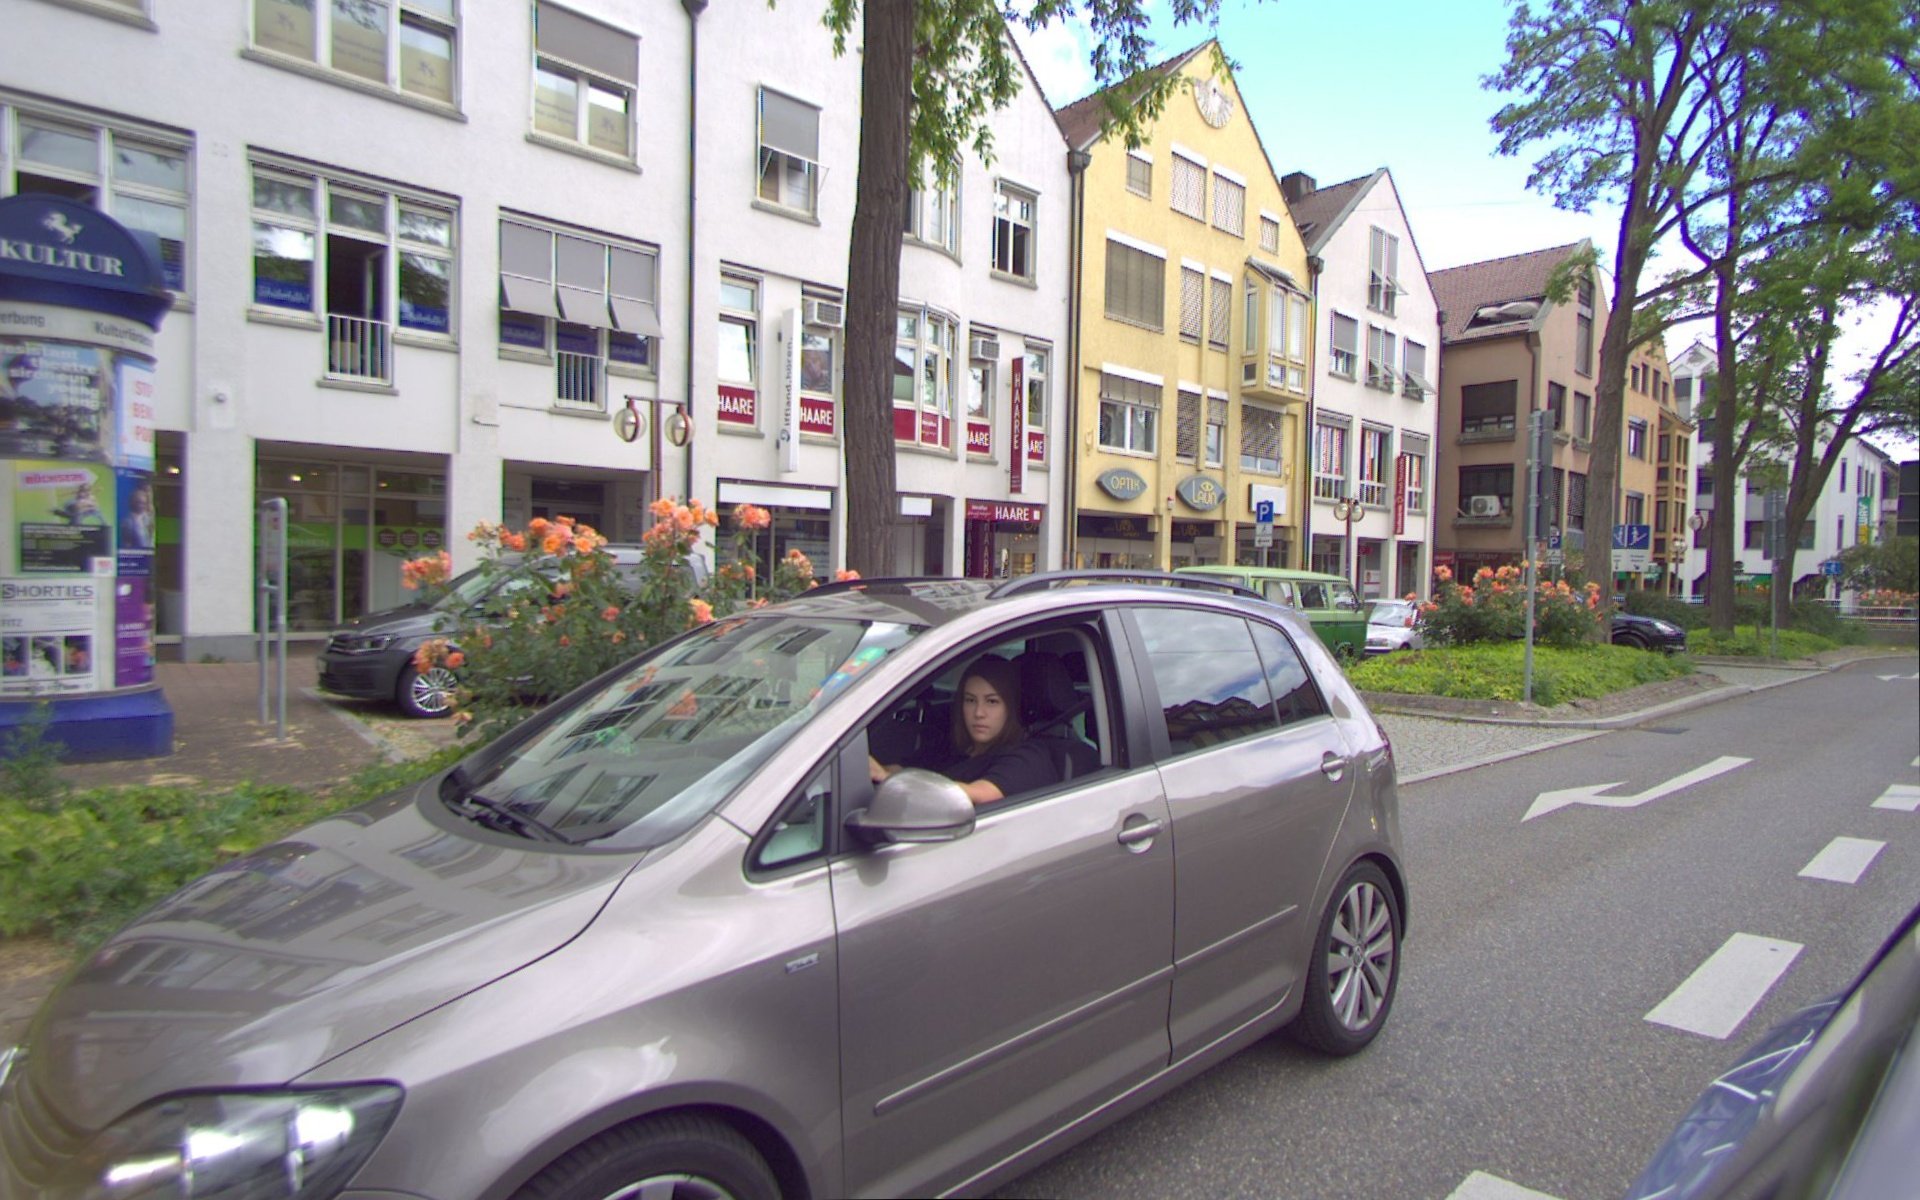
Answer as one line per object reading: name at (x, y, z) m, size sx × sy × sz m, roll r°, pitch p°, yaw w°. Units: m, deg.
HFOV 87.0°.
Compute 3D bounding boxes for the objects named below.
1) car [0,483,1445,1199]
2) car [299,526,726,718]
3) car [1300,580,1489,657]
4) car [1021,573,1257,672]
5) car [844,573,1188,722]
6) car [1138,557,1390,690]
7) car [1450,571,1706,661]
car at (-0.277, 0.637, 3.071) m, size 3.931 × 1.549 × 1.799 m, roll 0°, pitch 0°, yaw -42°
car at (-5.008, 0.154, 11.699) m, size 4.190 × 1.826 × 1.736 m, roll 0°, pitch 3°, yaw -43°
car at (9.010, 0.301, 20.789) m, size 4.674 × 1.325 × 1.841 m, roll -1°, pitch 4°, yaw -43°
car at (3.455, 0.319, 18.987) m, size 4.676 × 1.566 × 1.996 m, roll -1°, pitch 4°, yaw -44°
car at (0.522, 0.461, 13.162) m, size 1.709 × 1.471 × 4.648 m, roll 0°, pitch 3°, yaw -41°
car at (5.249, 0.275, 17.135) m, size 4.675 × 1.899 × 1.996 m, roll -1°, pitch 4°, yaw -44°
car at (14.170, 0.296, 23.371) m, size 4.735 × 1.699 × 1.970 m, roll 4°, pitch 2°, yaw 41°
